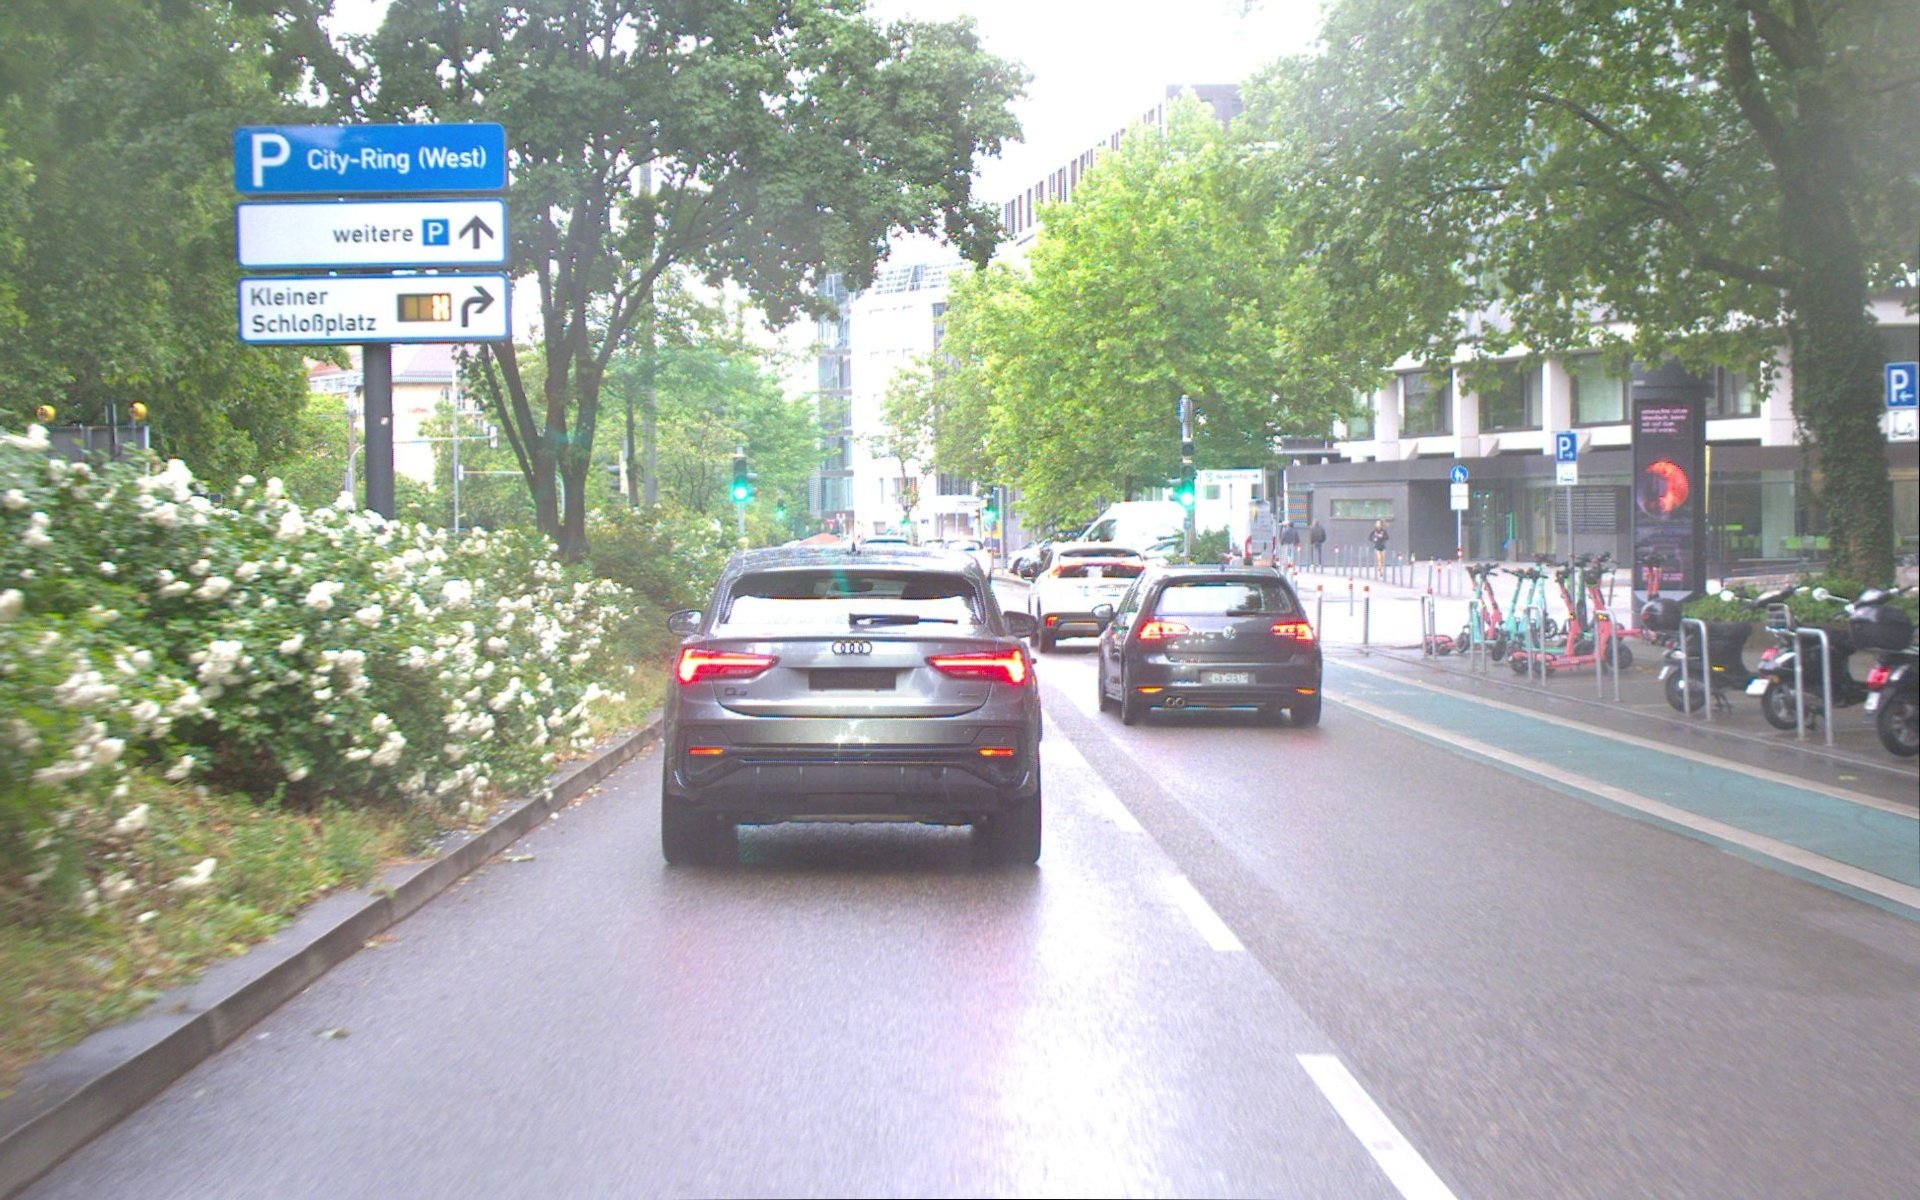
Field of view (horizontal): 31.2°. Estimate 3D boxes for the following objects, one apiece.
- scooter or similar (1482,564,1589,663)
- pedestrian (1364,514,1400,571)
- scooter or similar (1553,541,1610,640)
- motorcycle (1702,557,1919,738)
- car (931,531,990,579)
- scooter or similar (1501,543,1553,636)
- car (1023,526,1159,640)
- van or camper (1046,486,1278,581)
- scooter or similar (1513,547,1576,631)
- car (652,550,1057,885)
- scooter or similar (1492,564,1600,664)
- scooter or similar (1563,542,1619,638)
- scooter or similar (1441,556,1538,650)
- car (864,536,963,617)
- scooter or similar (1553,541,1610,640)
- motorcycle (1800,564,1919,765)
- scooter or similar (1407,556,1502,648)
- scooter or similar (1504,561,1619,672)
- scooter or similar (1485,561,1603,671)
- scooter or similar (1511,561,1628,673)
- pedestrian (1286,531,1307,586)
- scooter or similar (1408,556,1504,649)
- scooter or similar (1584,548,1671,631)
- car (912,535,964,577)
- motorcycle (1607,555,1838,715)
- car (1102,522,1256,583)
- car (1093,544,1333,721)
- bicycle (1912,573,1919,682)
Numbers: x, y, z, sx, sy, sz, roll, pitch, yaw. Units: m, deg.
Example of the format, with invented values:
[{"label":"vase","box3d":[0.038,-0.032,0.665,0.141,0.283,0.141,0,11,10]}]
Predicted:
[{"label":"scooter or similar","box3d":[7.533,0.174,45.023,1.289,1.231,0.489,-2,3,1]},{"label":"pedestrian","box3d":[12.578,-1.715,102.545,0.805,1.690,1.187,0,1,-6]},{"label":"scooter or similar","box3d":[8.340,-0.138,46.177,0.487,1.255,1.294,-2,3,-1]},{"label":"motorcycle","box3d":[7.209,0.379,28.547,1.955,1.369,0.729,-3,3,-22]},{"label":"car","box3d":[-0.007,-1.475,111.045,1.849,1.518,4.039,0,1,-1]},{"label":"scooter or similar","box3d":[8.096,-0.158,49.112,0.487,1.255,1.294,-2,3,-1]},{"label":"car","box3d":[1.946,-0.281,52.204,1.849,1.663,4.039,0,1,-1]},{"label":"van or camper","box3d":[5.582,-1.827,95.118,6.074,2.549,2.102,0,1,26]},{"label":"scooter or similar","box3d":[8.486,-0.161,49.971,0.487,1.193,1.294,0,0,-10]},{"label":"car","box3d":[-0.544,0.507,17.755,1.849,1.518,4.039,0,1,-2]},{"label":"scooter or similar","box3d":[7.548,0.178,44.278,1.289,1.231,0.489,-2,3,1]},{"label":"scooter or similar","box3d":[8.698,-0.144,47.412,0.487,1.255,1.294,-2,3,-1]},{"label":"scooter or similar","box3d":[7.382,0.040,47.946,1.290,1.255,0.489,-1,3,11]},{"label":"car","box3d":[-0.907,-0.470,66.358,1.849,1.518,4.039,0,1,-1]},{"label":"scooter or similar","box3d":[8.340,-0.138,46.177,0.487,1.255,1.294,-2,3,-1]},{"label":"motorcycle","box3d":[7.182,0.431,25.114,1.955,1.369,0.729,-3,3,-22]},{"label":"scooter or similar","box3d":[7.064,0.030,49.088,1.290,1.255,0.489,-1,3,11]},{"label":"scooter or similar","box3d":[7.246,0.194,41.453,1.289,1.274,0.537,-2,3,3]},{"label":"scooter or similar","box3d":[7.161,0.189,42.137,1.289,1.274,0.537,-2,3,-11]},{"label":"scooter or similar","box3d":[7.270,0.197,41.009,1.289,1.274,0.537,-2,3,3]},{"label":"pedestrian","box3d":[11.128,-1.365,113.689,0.553,1.799,0.762,0,0,-4]},{"label":"scooter or similar","box3d":[6.998,0.034,48.476,1.290,1.255,0.489,-1,3,11]},{"label":"scooter or similar","box3d":[9.661,-0.152,49.757,0.487,1.193,1.293,0,0,-32]},{"label":"car","box3d":[-0.832,-1.631,126.499,1.849,1.518,4.039,0,1,-1]},{"label":"motorcycle","box3d":[7.062,0.310,31.834,1.955,1.369,0.729,-3,3,-17]},{"label":"car","box3d":[5.667,-1.245,88.967,3.652,1.542,1.713,0,1,18]},{"label":"car","box3d":[2.261,0.251,31.716,1.849,1.518,4.039,0,1,-1]},{"label":"bicycle","box3d":[9.664,0.245,33.021,0.638,1.024,1.761,0,1,28]}]
